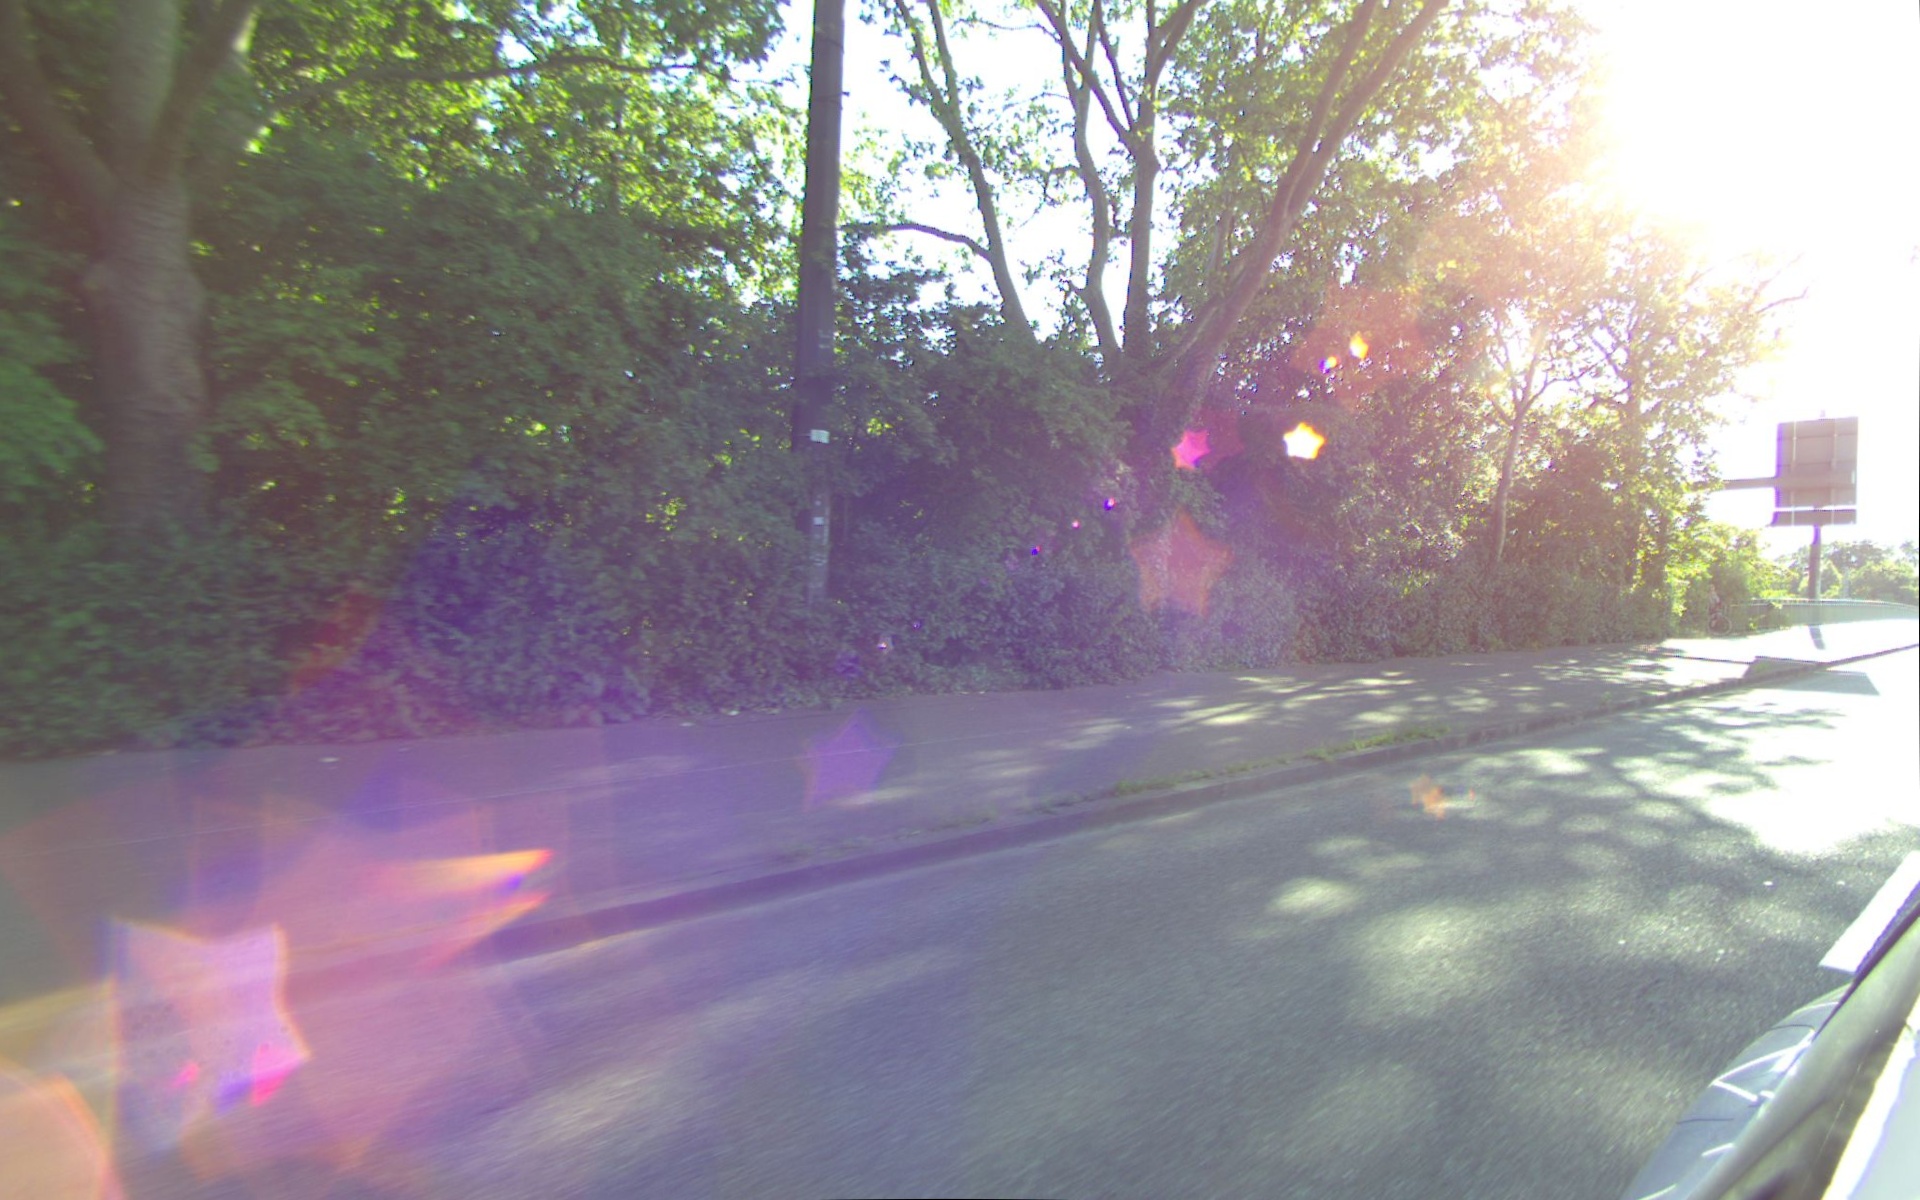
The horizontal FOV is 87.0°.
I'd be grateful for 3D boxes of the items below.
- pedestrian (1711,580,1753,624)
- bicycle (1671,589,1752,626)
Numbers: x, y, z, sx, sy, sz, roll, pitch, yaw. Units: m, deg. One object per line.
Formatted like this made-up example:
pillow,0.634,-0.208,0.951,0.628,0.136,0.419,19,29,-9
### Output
pedestrian,25.263,0.058,33.121,0.790,1.412,0.815,1,1,-27
bicycle,24.658,0.231,33.259,0.614,1.136,2.045,1,2,-28
